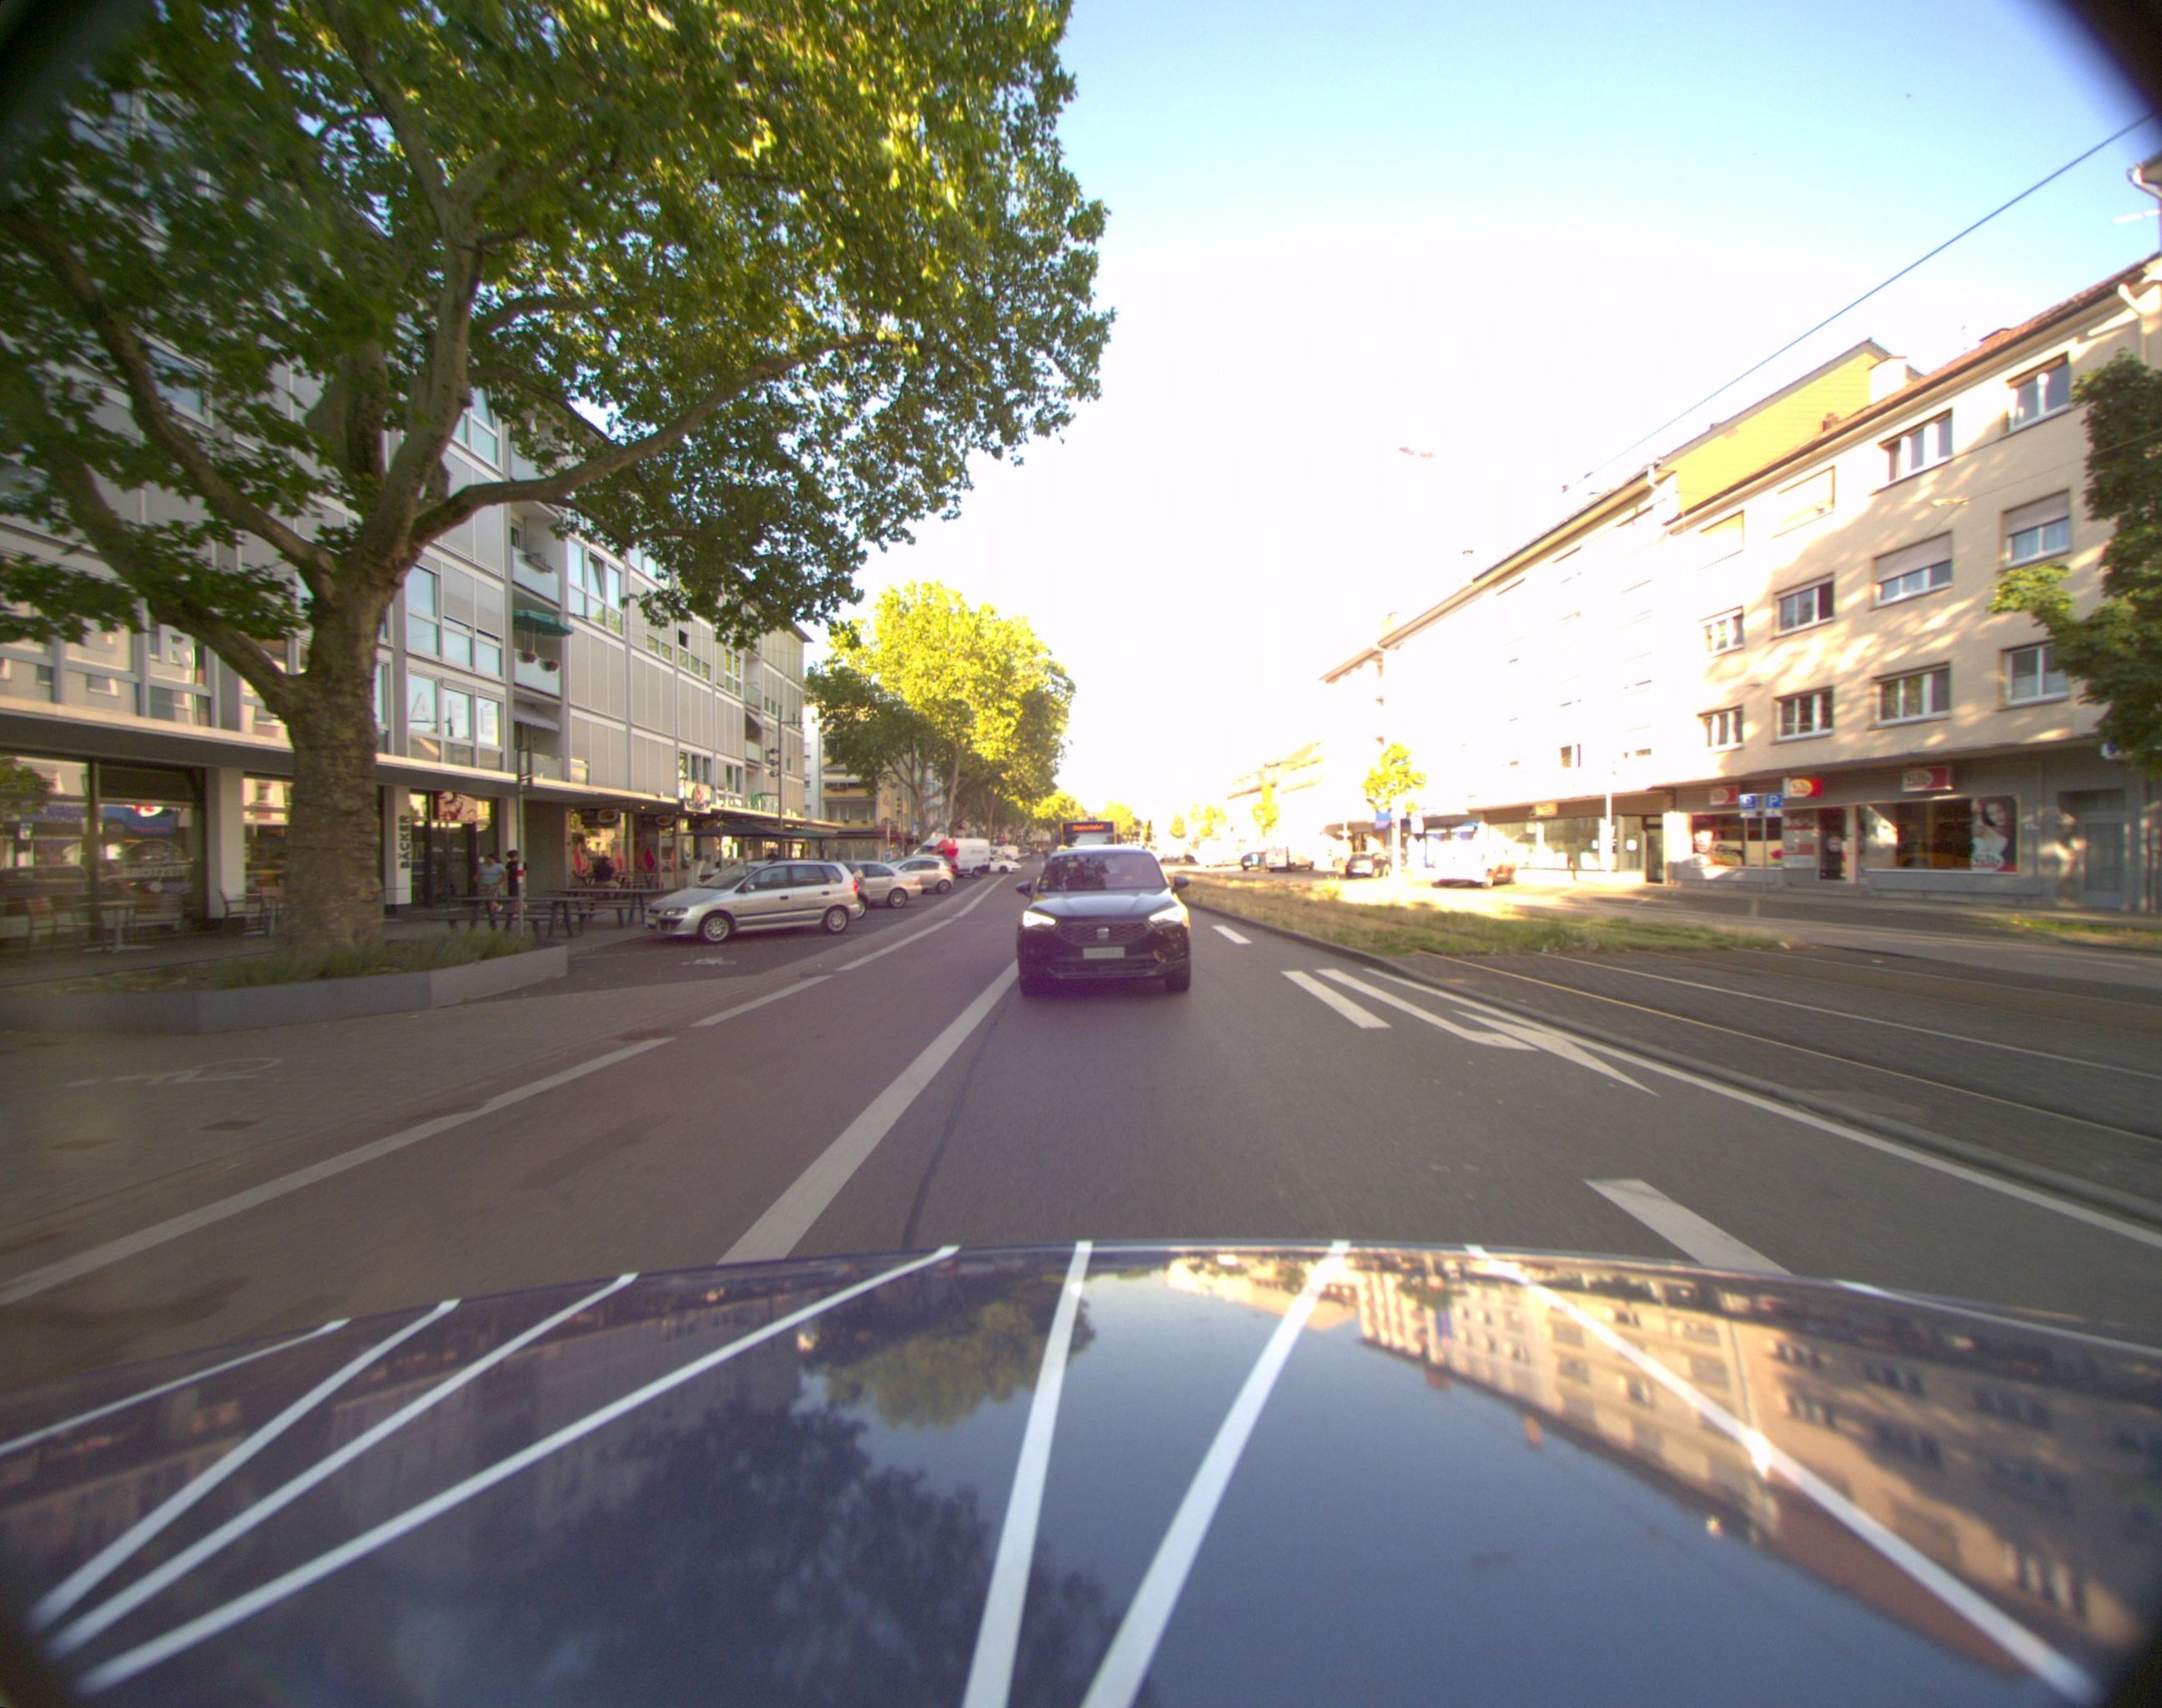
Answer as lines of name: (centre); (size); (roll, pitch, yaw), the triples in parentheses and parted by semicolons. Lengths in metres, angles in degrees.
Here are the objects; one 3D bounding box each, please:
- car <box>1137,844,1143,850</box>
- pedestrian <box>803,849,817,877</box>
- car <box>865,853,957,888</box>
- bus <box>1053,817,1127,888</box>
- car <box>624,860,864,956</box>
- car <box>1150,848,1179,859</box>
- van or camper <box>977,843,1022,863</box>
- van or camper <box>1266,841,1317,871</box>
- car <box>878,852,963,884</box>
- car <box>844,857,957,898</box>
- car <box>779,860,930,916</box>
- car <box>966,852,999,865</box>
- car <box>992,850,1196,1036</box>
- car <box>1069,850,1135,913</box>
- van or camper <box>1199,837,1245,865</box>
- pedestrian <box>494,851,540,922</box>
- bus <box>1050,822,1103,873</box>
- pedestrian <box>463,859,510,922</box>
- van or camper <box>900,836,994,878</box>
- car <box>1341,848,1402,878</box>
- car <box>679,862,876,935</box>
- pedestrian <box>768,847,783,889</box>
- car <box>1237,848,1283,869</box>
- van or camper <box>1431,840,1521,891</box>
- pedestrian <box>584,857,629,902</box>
car: (19.901, -2.401, 256.926); (1.869, 1.832, 3.826); (0, 1, 3)
pedestrian: (-15.288, 0.495, 42.829); (0.540, 1.582, 0.685); (1, 1, -36)
car: (-8.061, 0.749, 36.256); (4.008, 1.514, 1.655); (0, 2, -43)
bus: (0.184, -0.192, 39.081); (2.873, 2.962, 12.233); (-3, 2, -3)
car: (-6.605, 0.952, 15.247); (1.804, 1.597, 4.008); (0, 1, 39)
car: (12.317, -0.044, 112.073); (3.920, 1.482, 1.766); (-3, 1, -26)
van or camper: (-10.015, -0.156, 94.062); (1.994, 2.455, 5.474); (0, 1, 45)
van or camper: (15.699, 0.133, 56.592); (1.795, 1.978, 4.460); (-2, 1, 43)
car: (-8.306, 0.674, 39.457); (4.008, 1.555, 1.655); (0, 2, -43)
car: (-7.003, 0.859, 29.726); (4.008, 1.428, 1.655); (0, 2, -43)
car: (-6.650, 0.943, 22.573); (1.655, 1.428, 4.008); (2, 2, 44)
car: (-10.721, 0.433, 82.866); (3.337, 1.339, 1.526); (0, 2, -43)
car: (0.181, 0.811, 8.994); (1.808, 1.638, 4.000); (-2, 1, 2)
car: (0.556, 0.687, 21.071); (1.658, 1.571, 4.000); (-1, 0, 1)
van or camper: (14.409, -0.323, 77.390); (1.995, 2.652, 6.410); (-2, 1, 35)
pedestrian: (-12.981, 0.730, 17.501); (0.538, 1.582, 0.687); (2, 1, -4)
bus: (-0.522, -0.531, 51.218); (2.873, 2.962, 12.233); (-3, 2, -3)
pedestrian: (-13.568, 0.826, 17.347); (0.538, 1.392, 0.687); (2, 1, -4)
van or camper: (-8.183, 0.135, 46.857); (5.474, 2.455, 1.994); (-1, 1, -43)
car: (16.485, 0.496, 43.007); (1.765, 1.482, 4.460); (-2, 1, 40)
car: (-7.178, 0.961, 18.293); (1.804, 1.498, 4.008); (0, 1, 39)
pedestrian: (-14.827, 0.676, 36.907); (0.552, 2.002, 0.577); (-3, 1, -17)
car: (14.993, 0.331, 63.468); (1.874, 1.577, 4.008); (-2, 1, 44)
van or camper: (16.511, 0.434, 31.641); (1.946, 1.887, 4.824); (-2, 1, 45)
pedestrian: (-14.666, 0.782, 23.517); (0.750, 1.354, 0.962); (0, 1, 1)
